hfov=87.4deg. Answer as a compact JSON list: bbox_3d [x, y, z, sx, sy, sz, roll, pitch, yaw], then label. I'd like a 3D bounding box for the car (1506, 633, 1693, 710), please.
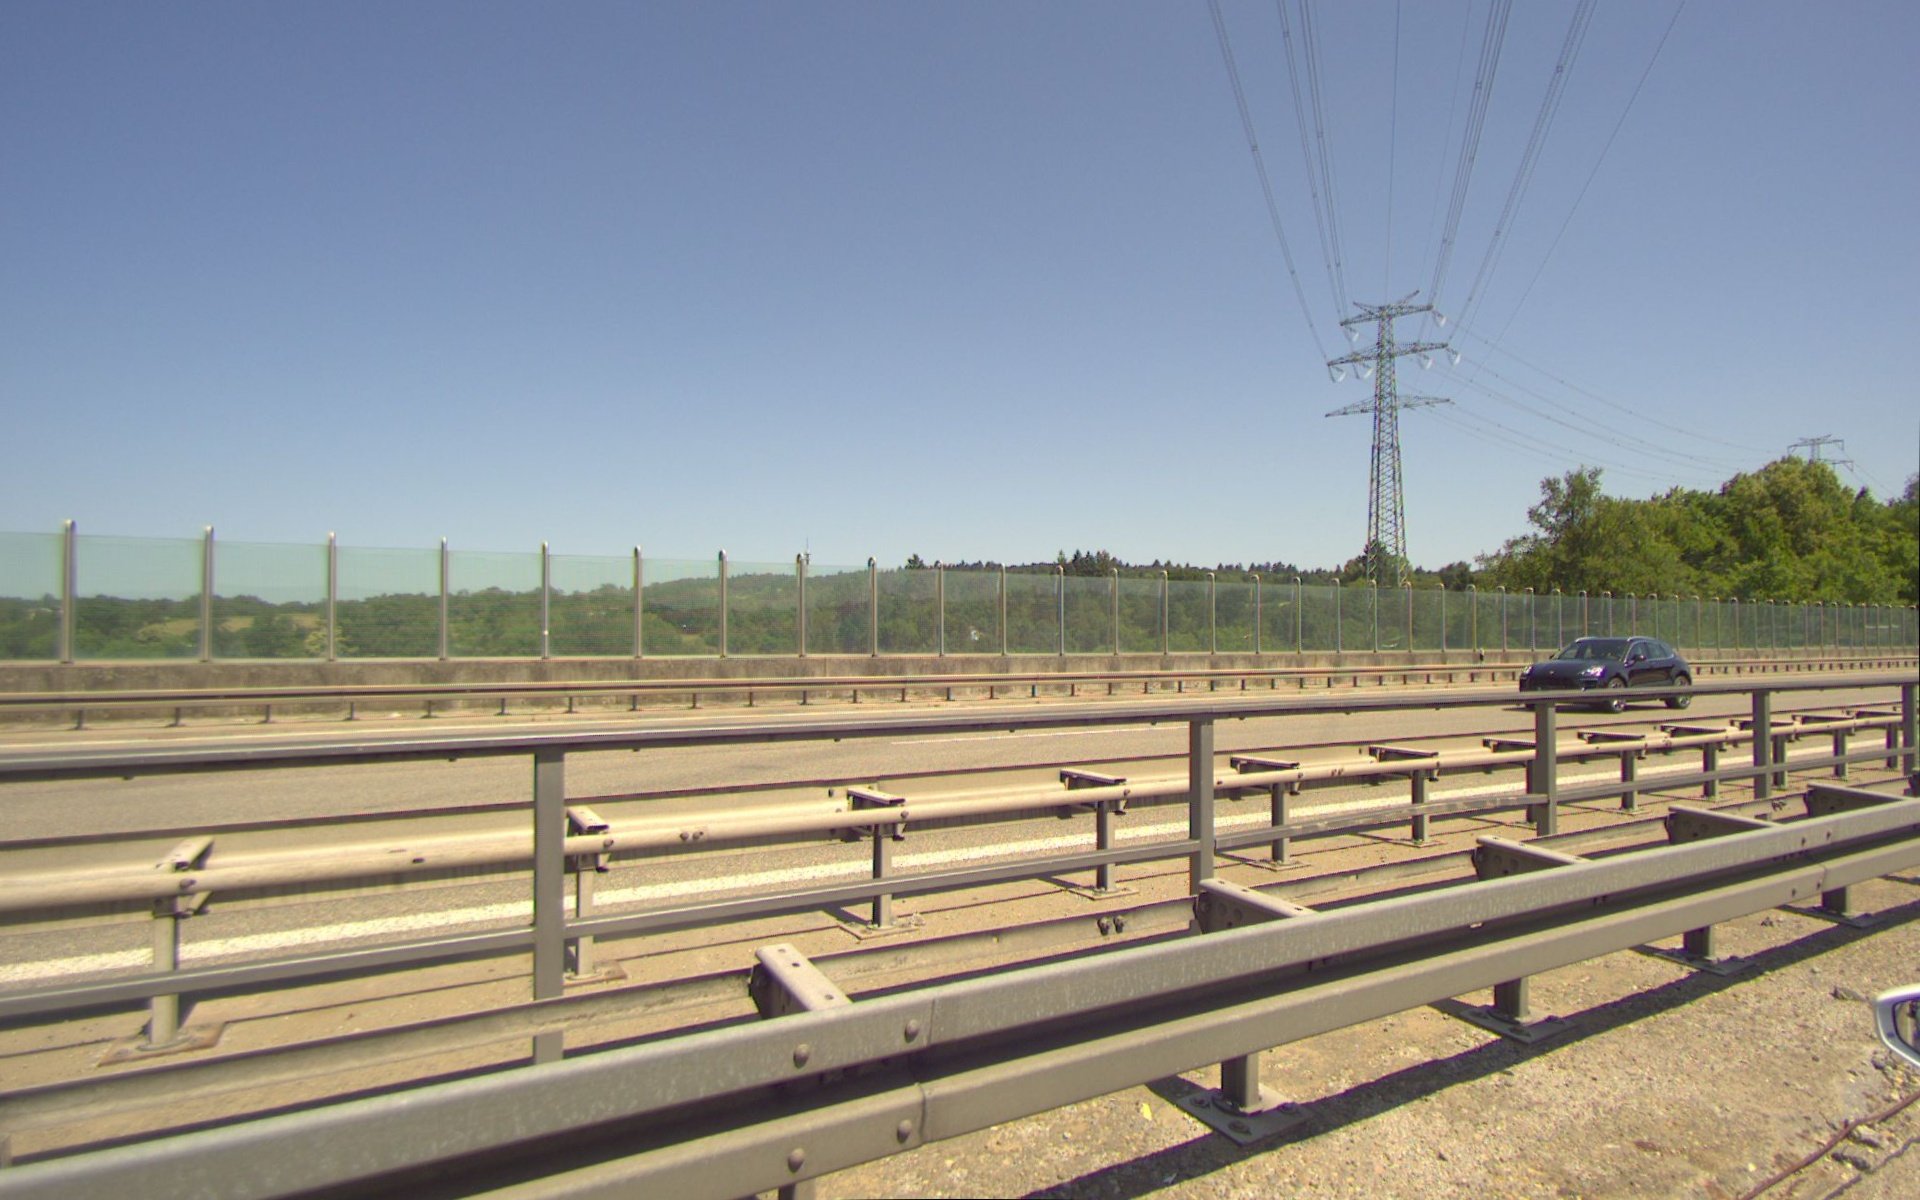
[{"bbox_3d":[14.438,1.580,22.635,4.335,1.589,1.772,2,-3,-30],"label":"car"}]
